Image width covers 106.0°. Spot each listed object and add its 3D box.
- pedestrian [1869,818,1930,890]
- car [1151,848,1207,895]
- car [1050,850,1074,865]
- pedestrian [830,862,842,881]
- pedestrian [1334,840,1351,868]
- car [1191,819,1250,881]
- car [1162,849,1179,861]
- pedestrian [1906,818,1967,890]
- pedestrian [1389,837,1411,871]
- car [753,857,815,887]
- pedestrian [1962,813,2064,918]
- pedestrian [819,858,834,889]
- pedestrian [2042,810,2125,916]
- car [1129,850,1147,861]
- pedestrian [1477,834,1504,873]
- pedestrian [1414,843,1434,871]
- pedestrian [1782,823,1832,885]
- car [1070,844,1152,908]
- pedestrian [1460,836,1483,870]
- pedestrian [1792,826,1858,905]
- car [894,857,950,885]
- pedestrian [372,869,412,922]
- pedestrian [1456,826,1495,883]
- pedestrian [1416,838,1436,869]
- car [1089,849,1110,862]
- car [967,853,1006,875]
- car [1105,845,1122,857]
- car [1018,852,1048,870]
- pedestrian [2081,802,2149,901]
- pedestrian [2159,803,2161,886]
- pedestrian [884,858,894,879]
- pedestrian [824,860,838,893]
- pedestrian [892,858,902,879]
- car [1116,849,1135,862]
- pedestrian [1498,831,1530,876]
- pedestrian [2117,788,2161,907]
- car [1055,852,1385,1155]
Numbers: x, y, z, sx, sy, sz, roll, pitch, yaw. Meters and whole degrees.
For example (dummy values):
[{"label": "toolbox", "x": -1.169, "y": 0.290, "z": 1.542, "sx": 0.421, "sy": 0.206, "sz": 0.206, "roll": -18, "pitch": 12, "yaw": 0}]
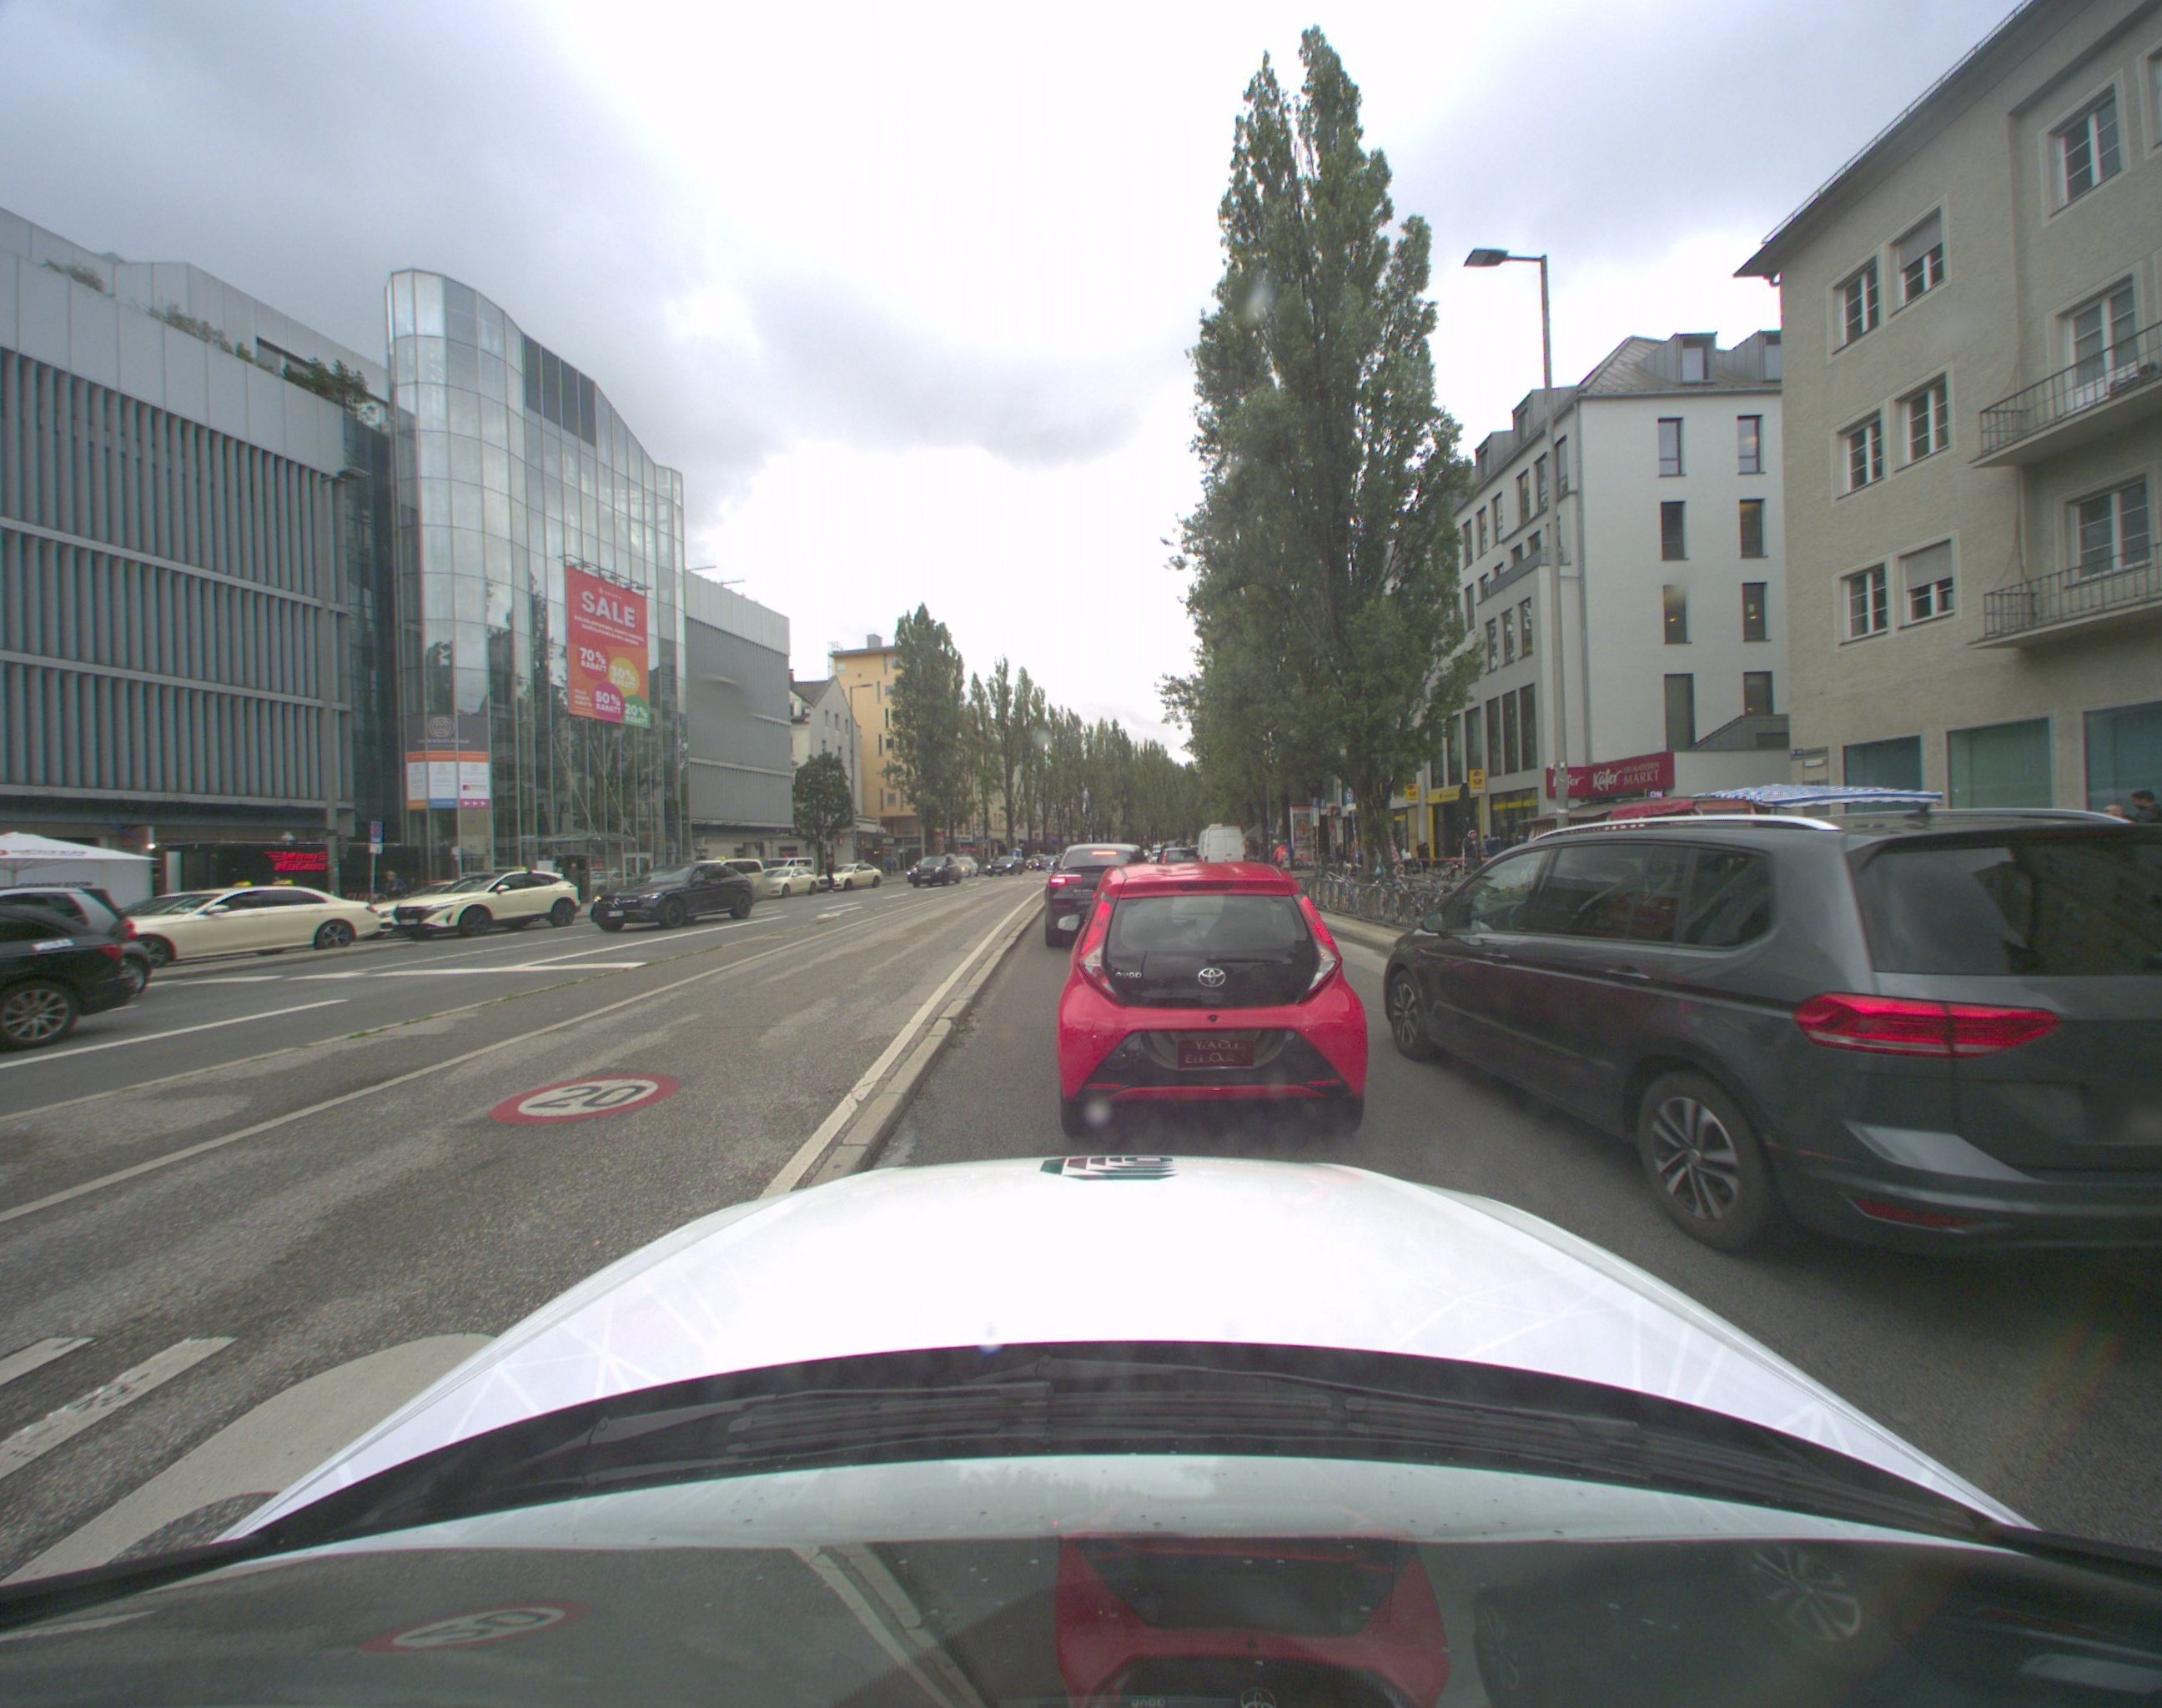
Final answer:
[{"label": "pedestrian", "x": 16.551, "y": 0.001, "z": 16.478, "sx": 0.596, "sy": 1.402, "sz": 0.580, "roll": -2, "pitch": 0, "yaw": 1}, {"label": "car", "x": 3.602, "y": 0.611, "z": 30.476, "sx": 1.697, "sy": 1.589, "sz": 3.557, "roll": -2, "pitch": 0, "yaw": 1}, {"label": "car", "x": -2.224, "y": 0.407, "z": 95.551, "sx": 1.982, "sy": 1.691, "sz": 4.932, "roll": -2, "pitch": 0, "yaw": 8}, {"label": "pedestrian", "x": -17.754, "y": 1.277, "z": 59.129, "sx": 0.553, "sy": 1.290, "sz": 0.630, "roll": -2, "pitch": 0, "yaw": 12}, {"label": "pedestrian", "x": 15.505, "y": 0.006, "z": 48.345, "sx": 0.761, "sy": 1.594, "sz": 0.676, "roll": -2, "pitch": 0, "yaw": 1}, {"label": "car", "x": 6.610, "y": -0.192, "z": 39.055, "sx": 2.099, "sy": 2.718, "sz": 4.806, "roll": -2, "pitch": 0, "yaw": 2}, {"label": "car", "x": 11.881, "y": 0.168, "z": 107.886, "sx": 1.760, "sy": 1.439, "sz": 3.953, "roll": -2, "pitch": 0, "yaw": 14}, {"label": "pedestrian", "x": 17.262, "y": -0.001, "z": 16.447, "sx": 0.573, "sy": 1.402, "sz": 0.580, "roll": -2, "pitch": 0, "yaw": 1}, {"label": "pedestrian", "x": 15.236, "y": 0.001, "z": 38.911, "sx": 0.710, "sy": 1.558, "sz": 0.676, "roll": -2, "pitch": 0, "yaw": 1}, {"label": "car", "x": -19.384, "y": 1.125, "z": 53.343, "sx": 1.858, "sy": 1.772, "sz": 4.254, "roll": -2, "pitch": 0, "yaw": 10}, {"label": "pedestrian", "x": 14.120, "y": 0.166, "z": 12.364, "sx": 0.801, "sy": 1.522, "sz": 0.805, "roll": -2, "pitch": 0, "yaw": 34}, {"label": "pedestrian", "x": -15.343, "y": 1.176, "z": 49.025, "sx": 0.553, "sy": 1.817, "sz": 0.630, "roll": -2, "pitch": 0, "yaw": 12}, {"label": "pedestrian", "x": 14.823, "y": 0.129, "z": 12.061, "sx": 0.573, "sy": 1.505, "sz": 0.620, "roll": -2, "pitch": 0, "yaw": 32}, {"label": "car", "x": 8.835, "y": 0.223, "z": 125.447, "sx": 1.979, "sy": 1.691, "sz": 4.430, "roll": -2, "pitch": 0, "yaw": 13}, {"label": "pedestrian", "x": 17.461, "y": -0.032, "z": 34.714, "sx": 0.730, "sy": 1.602, "sz": 0.742, "roll": -2, "pitch": 0, "yaw": 1}, {"label": "pedestrian", "x": 16.069, "y": 0.146, "z": 38.176, "sx": 0.636, "sy": 1.306, "sz": 0.676, "roll": -2, "pitch": 0, "yaw": 1}, {"label": "pedestrian", "x": 16.742, "y": 0.002, "z": 18.785, "sx": 0.596, "sy": 1.402, "sz": 0.580, "roll": -2, "pitch": 0, "yaw": 1}, {"label": "car", "x": 0.865, "y": 0.550, "z": 21.411, "sx": 1.911, "sy": 1.486, "sz": 3.922, "roll": -2, "pitch": -1, "yaw": 4}, {"label": "pedestrian", "x": 18.372, "y": -0.060, "z": 38.301, "sx": 0.710, "sy": 1.558, "sz": 0.676, "roll": -2, "pitch": 0, "yaw": 1}, {"label": "pedestrian", "x": 14.051, "y": 0.210, "z": 15.398, "sx": 0.613, "sy": 1.425, "sz": 0.660, "roll": -2, "pitch": 0, "yaw": 6}, {"label": "car", "x": -10.329, "y": 1.080, "z": 53.308, "sx": 1.980, "sy": 1.609, "sz": 4.547, "roll": -2, "pitch": 0, "yaw": 11}, {"label": "pedestrian", "x": -22.723, "y": 1.370, "z": 26.855, "sx": 0.646, "sy": 1.691, "sz": 0.714, "roll": -2, "pitch": 0, "yaw": 13}, {"label": "pedestrian", "x": 12.380, "y": 0.014, "z": 25.585, "sx": 0.788, "sy": 1.727, "sz": 0.764, "roll": -2, "pitch": 0, "yaw": 1}, {"label": "pedestrian", "x": 17.636, "y": -0.019, "z": 41.666, "sx": 0.710, "sy": 1.558, "sz": 0.676, "roll": -2, "pitch": 0, "yaw": 1}, {"label": "car", "x": 2.691, "y": 0.202, "z": 114.791, "sx": 1.979, "sy": 1.691, "sz": 4.430, "roll": -2, "pitch": 0, "yaw": 13}, {"label": "car", "x": -7.926, "y": 0.832, "z": 68.706, "sx": 1.982, "sy": 1.691, "sz": 4.932, "roll": -2, "pitch": 0, "yaw": 8}, {"label": "car", "x": 5.394, "y": -0.549, "z": 135.798, "sx": 1.979, "sy": 1.933, "sz": 4.430, "roll": -2, "pitch": 0, "yaw": 13}, {"label": "car", "x": -5.022, "y": 0.699, "z": 85.825, "sx": 1.981, "sy": 1.691, "sz": 4.935, "roll": -2, "pitch": 0, "yaw": 10}, {"label": "pedestrian", "x": 15.767, "y": -0.037, "z": 12.428, "sx": 0.501, "sy": 1.484, "sz": 0.468, "roll": -2, "pitch": 0, "yaw": 36}, {"label": "pedestrian", "x": 19.306, "y": -0.080, "z": 14.044, "sx": 0.639, "sy": 1.644, "sz": 0.563, "roll": -2, "pitch": 0, "yaw": 1}, {"label": "pedestrian", "x": -18.259, "y": 1.346, "z": 77.338, "sx": 0.685, "sy": 1.997, "sz": 0.766, "roll": -2, "pitch": 0, "yaw": 1}, {"label": "pedestrian", "x": -12.893, "y": 1.145, "z": 41.927, "sx": 0.625, "sy": 1.697, "sz": 0.691, "roll": -2, "pitch": 0, "yaw": -18}, {"label": "pedestrian", "x": -17.499, "y": 1.350, "z": 77.382, "sx": 0.685, "sy": 1.997, "sz": 0.766, "roll": -2, "pitch": 0, "yaw": 1}, {"label": "car", "x": 6.460, "y": 0.235, "z": 117.879, "sx": 1.979, "sy": 1.691, "sz": 4.430, "roll": -2, "pitch": 0, "yaw": 13}, {"label": "pedestrian", "x": 15.897, "y": -0.031, "z": 29.915, "sx": 0.730, "sy": 1.602, "sz": 0.742, "roll": -2, "pitch": 0, "yaw": 1}, {"label": "pedestrian", "x": 15.505, "y": -0.103, "z": 11.681, "sx": 0.594, "sy": 1.669, "sz": 0.690, "roll": -2, "pitch": 0, "yaw": 36}, {"label": "car", "x": 0.738, "y": 0.736, "z": 5.585, "sx": 1.599, "sy": 1.461, "sz": 3.131, "roll": -1, "pitch": 0, "yaw": 2}]
